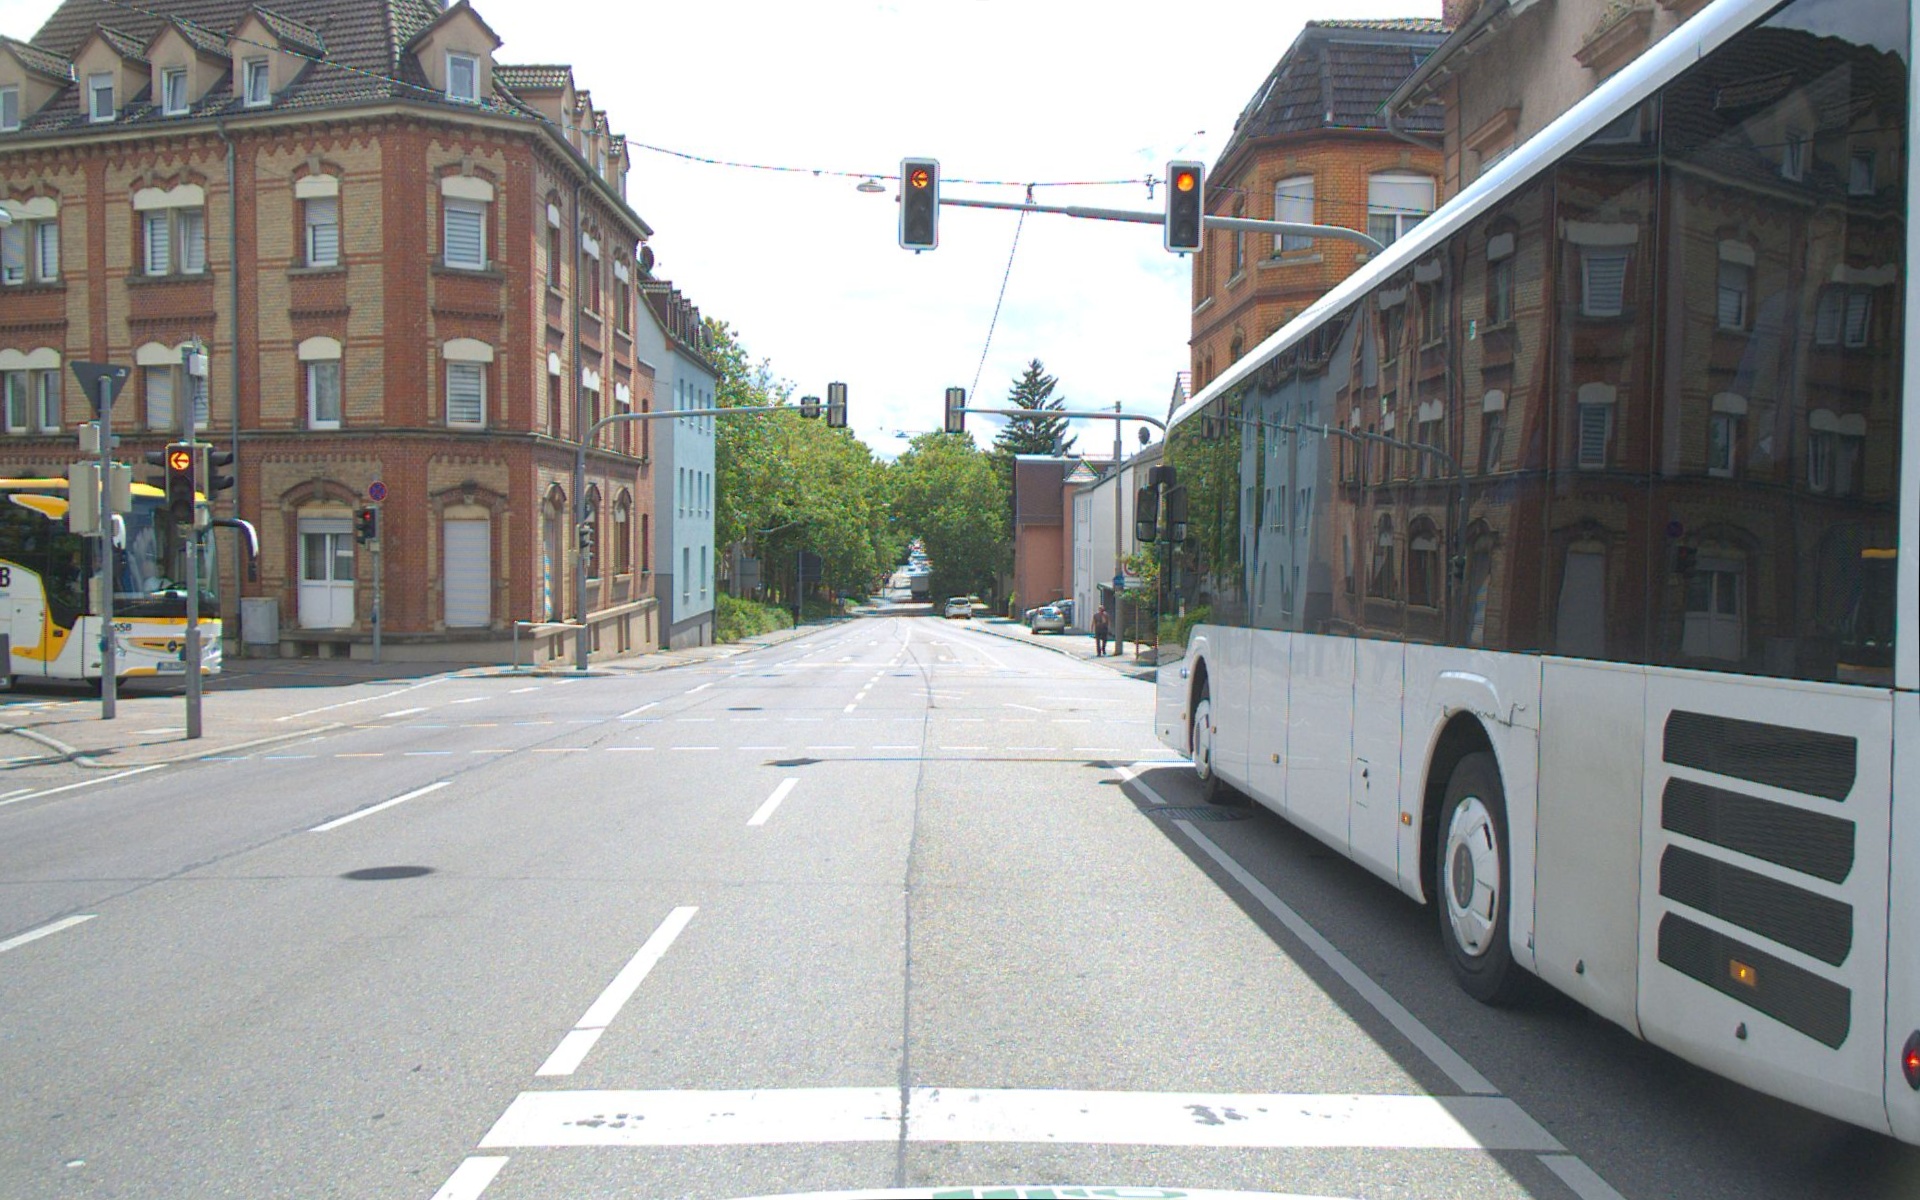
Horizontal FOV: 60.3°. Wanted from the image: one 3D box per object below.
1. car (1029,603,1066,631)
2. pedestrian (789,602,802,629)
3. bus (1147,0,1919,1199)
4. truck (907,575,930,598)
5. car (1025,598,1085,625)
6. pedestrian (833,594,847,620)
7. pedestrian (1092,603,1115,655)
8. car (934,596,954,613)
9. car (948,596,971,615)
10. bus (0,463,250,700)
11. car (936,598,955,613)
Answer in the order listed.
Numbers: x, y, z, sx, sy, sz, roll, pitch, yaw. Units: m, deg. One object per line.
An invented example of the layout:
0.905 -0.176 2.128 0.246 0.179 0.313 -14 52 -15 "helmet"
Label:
4.917 0.946 93.127 1.758 1.434 3.999 -1 1 -2 "car"
-9.712 0.913 97.669 0.714 1.592 0.560 0 0 -2 "pedestrian"
3.142 -0.142 9.330 2.618 3.211 12.459 0 0 -1 "bus"
-5.887 -1.923 233.801 2.868 3.135 7.881 -1 0 -3 "truck"
6.492 0.778 113.252 3.909 1.788 1.998 -1 0 -6 "car"
-9.427 0.530 130.140 0.974 2.049 1.188 0 0 -1 "pedestrian"
5.012 1.017 57.965 0.723 1.781 0.619 -1 0 -1 "pedestrian"
-1.399 0.402 145.798 1.757 1.434 4.418 1 0 0 "car"
-0.059 0.456 129.456 1.757 1.434 4.000 1 0 0 "car"
-18.189 -0.325 29.356 11.977 3.685 2.770 0 0 23 "bus"
-1.329 0.513 153.900 1.757 1.434 4.418 1 0 0 "car"
